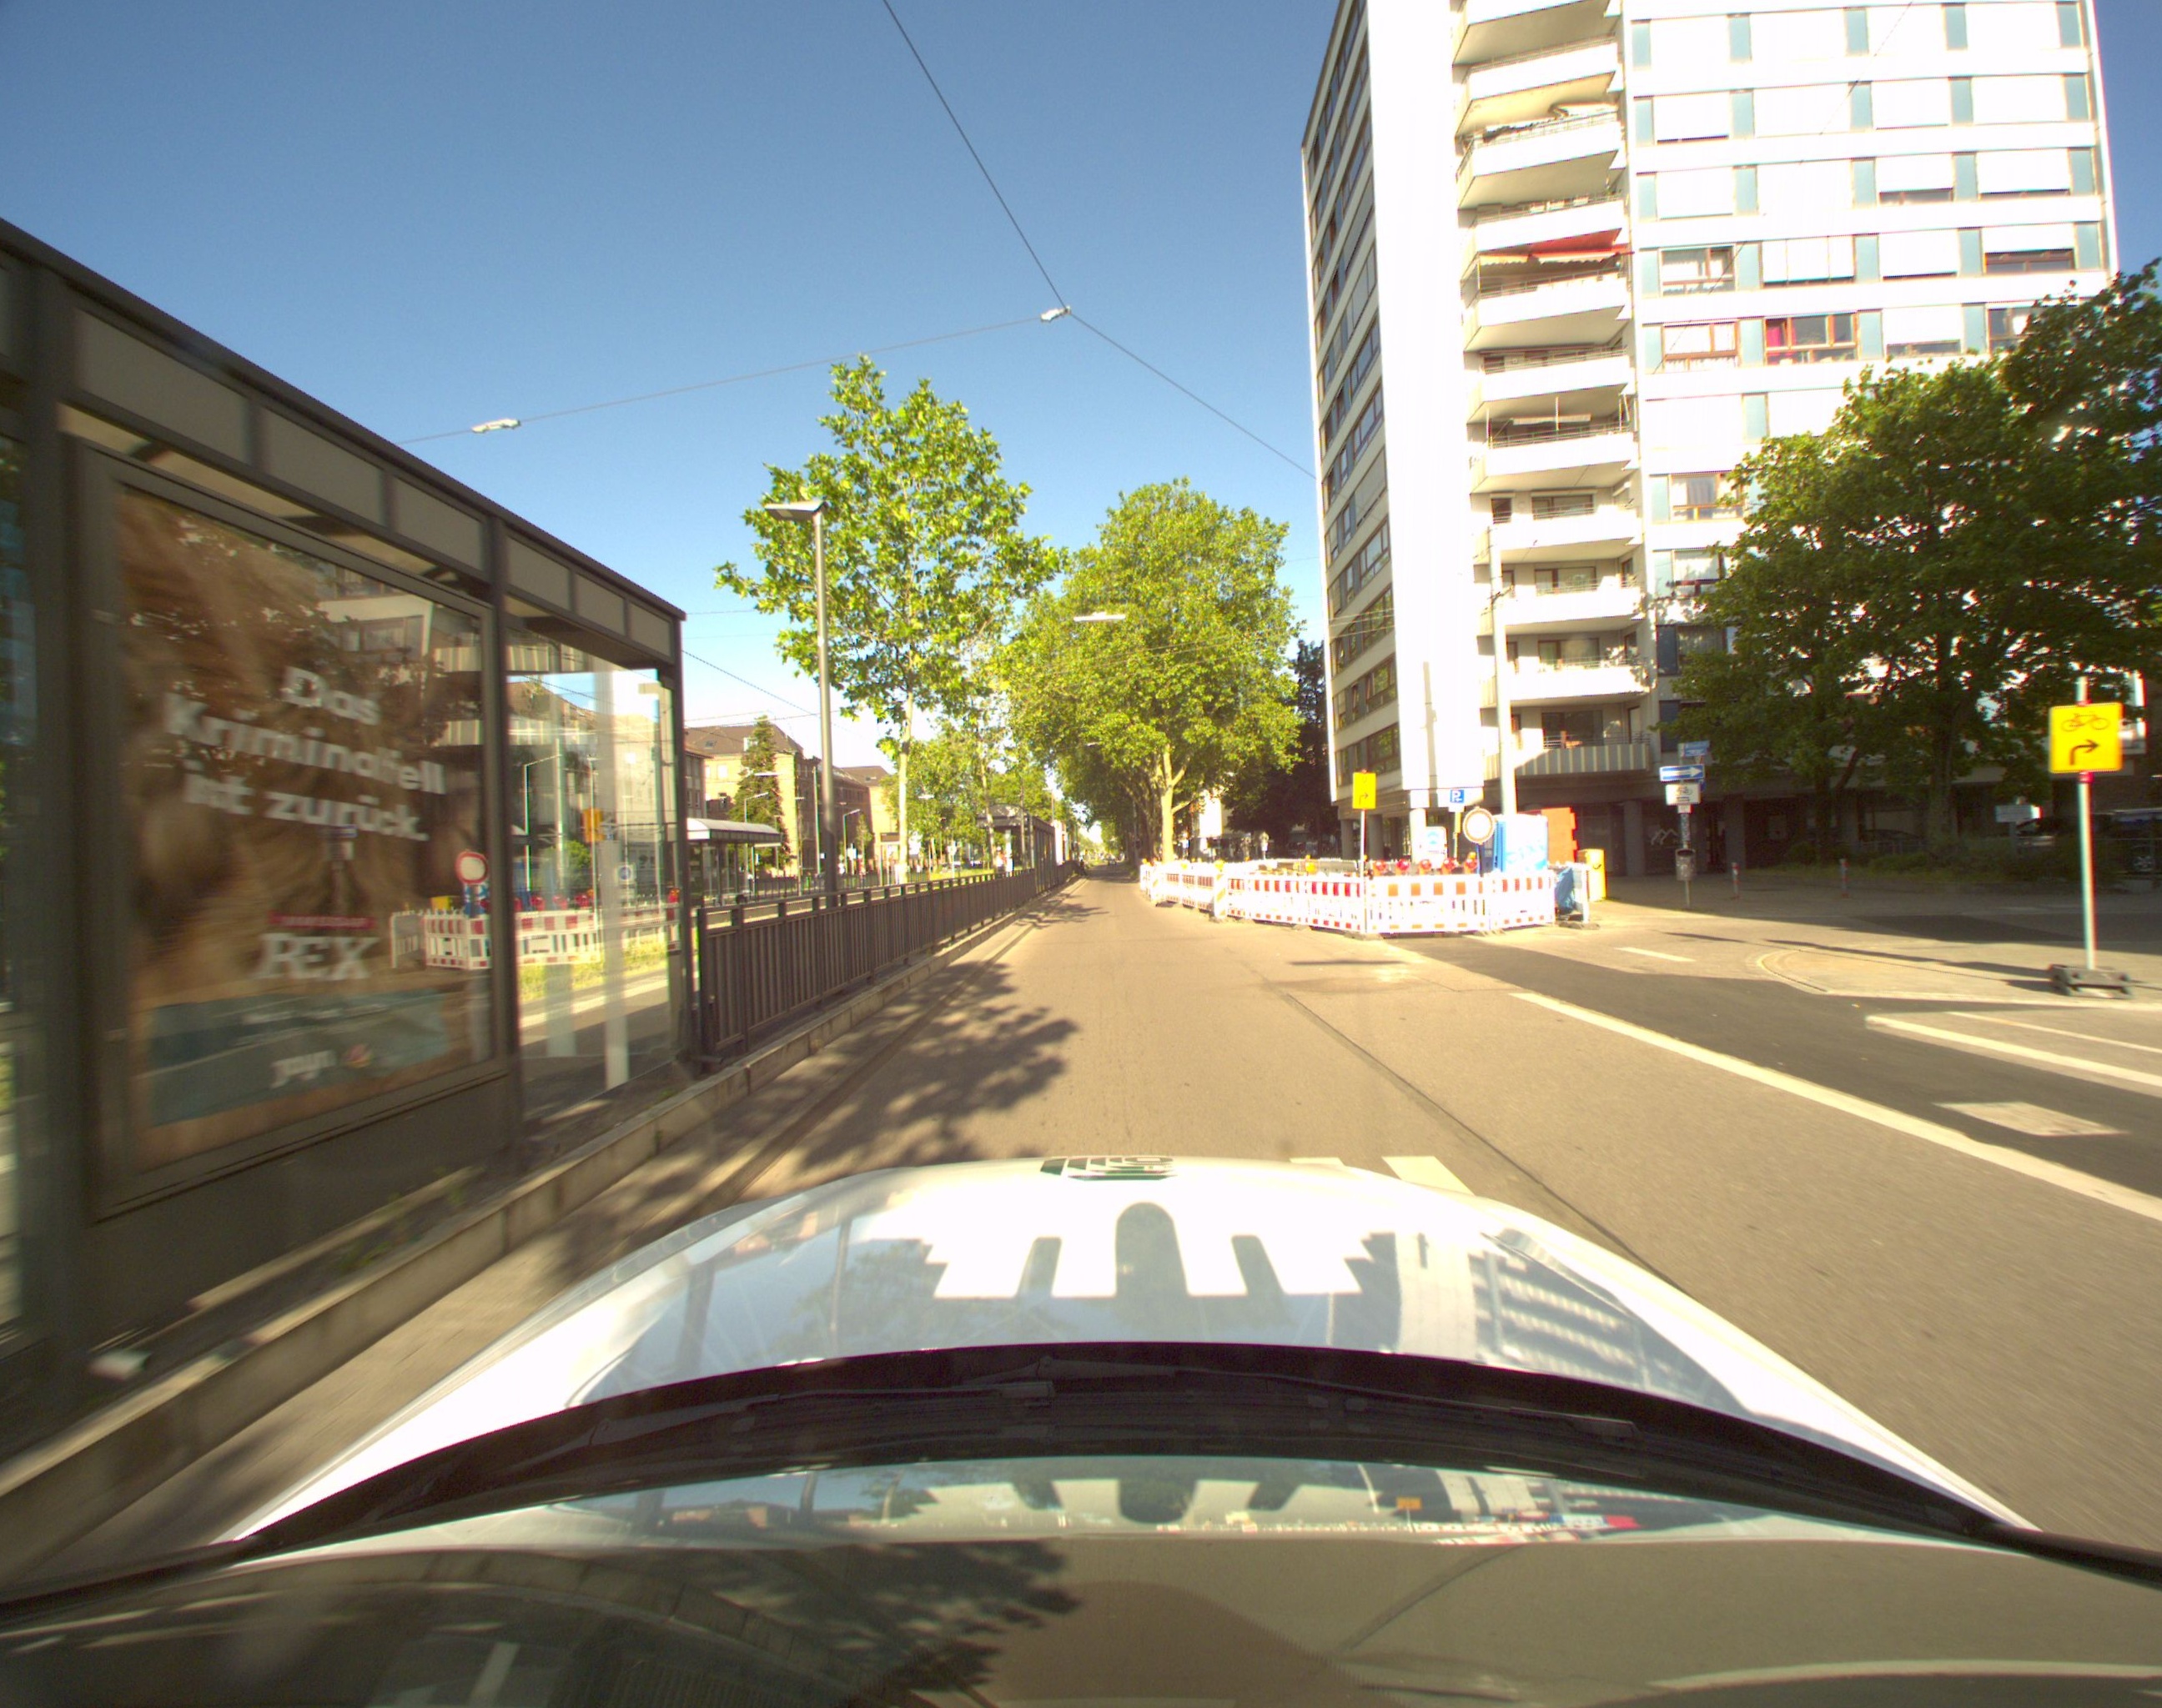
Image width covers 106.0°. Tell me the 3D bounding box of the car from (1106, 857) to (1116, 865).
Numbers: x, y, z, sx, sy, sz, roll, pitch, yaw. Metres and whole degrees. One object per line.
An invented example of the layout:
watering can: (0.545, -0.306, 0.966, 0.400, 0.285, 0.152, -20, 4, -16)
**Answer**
car: (6.192, 1.415, 167.115, 2.014, 1.662, 4.002, -2, 0, 2)

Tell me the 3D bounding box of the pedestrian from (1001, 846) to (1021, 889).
pedestrian: (-2.942, 0.550, 34.432, 0.679, 1.784, 0.755, -2, 0, 3)

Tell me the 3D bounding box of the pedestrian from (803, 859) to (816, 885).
pedestrian: (-21.610, 1.447, 64.797, 0.660, 2.013, 0.860, -2, 0, 1)

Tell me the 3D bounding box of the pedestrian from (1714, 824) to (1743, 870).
pedestrian: (26.231, -0.281, 33.016, 0.652, 1.854, 0.679, 0, -1, 4)

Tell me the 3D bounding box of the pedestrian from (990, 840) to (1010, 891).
pedestrian: (-3.270, 0.470, 32.860, 0.665, 2.013, 0.717, -2, 0, 3)

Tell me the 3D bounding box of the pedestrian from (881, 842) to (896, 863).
pedestrian: (-15.989, -0.136, 67.506, 0.949, 1.736, 0.731, -2, 0, 4)

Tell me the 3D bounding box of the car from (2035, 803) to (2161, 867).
car: (29.089, -0.548, 21.720, 4.185, 1.605, 2.165, -2, 0, 18)

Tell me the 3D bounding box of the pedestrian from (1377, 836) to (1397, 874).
pedestrian: (15.124, 0.046, 40.251, 0.687, 1.815, 0.666, -3, -1, 1)

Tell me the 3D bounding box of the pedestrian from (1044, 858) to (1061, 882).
pedestrian: (-1.381, 0.780, 40.054, 0.749, 1.179, 0.813, -2, 0, 1)

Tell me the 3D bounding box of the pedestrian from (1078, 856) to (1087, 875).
pedestrian: (0.109, 1.038, 72.947, 0.709, 1.680, 0.772, -2, 0, 0)

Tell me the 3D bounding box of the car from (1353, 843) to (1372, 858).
car: (34.302, -0.416, 99.428, 1.978, 1.669, 4.766, -3, 0, 17)

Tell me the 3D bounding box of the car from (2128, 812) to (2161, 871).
car: (28.141, -0.389, 18.904, 4.231, 1.418, 2.103, -2, 0, 18)

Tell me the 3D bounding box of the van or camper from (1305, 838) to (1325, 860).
van or camper: (28.968, -0.633, 100.792, 2.130, 2.636, 5.614, -3, 0, 18)

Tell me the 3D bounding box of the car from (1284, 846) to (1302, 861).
car: (26.409, -0.079, 101.362, 1.978, 1.628, 4.409, -3, 0, 17)

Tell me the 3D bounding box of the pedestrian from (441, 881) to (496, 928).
pedestrian: (-18.947, 1.554, 25.209, 0.971, 1.376, 0.879, -2, 0, 1)

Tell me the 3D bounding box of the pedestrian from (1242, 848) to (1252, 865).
pedestrian: (16.528, 0.254, 80.951, 0.729, 1.616, 1.036, -2, -1, 2)

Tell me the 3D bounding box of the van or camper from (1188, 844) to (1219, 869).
van or camper: (12.099, 0.216, 80.537, 2.282, 2.286, 5.825, -2, 0, 2)
